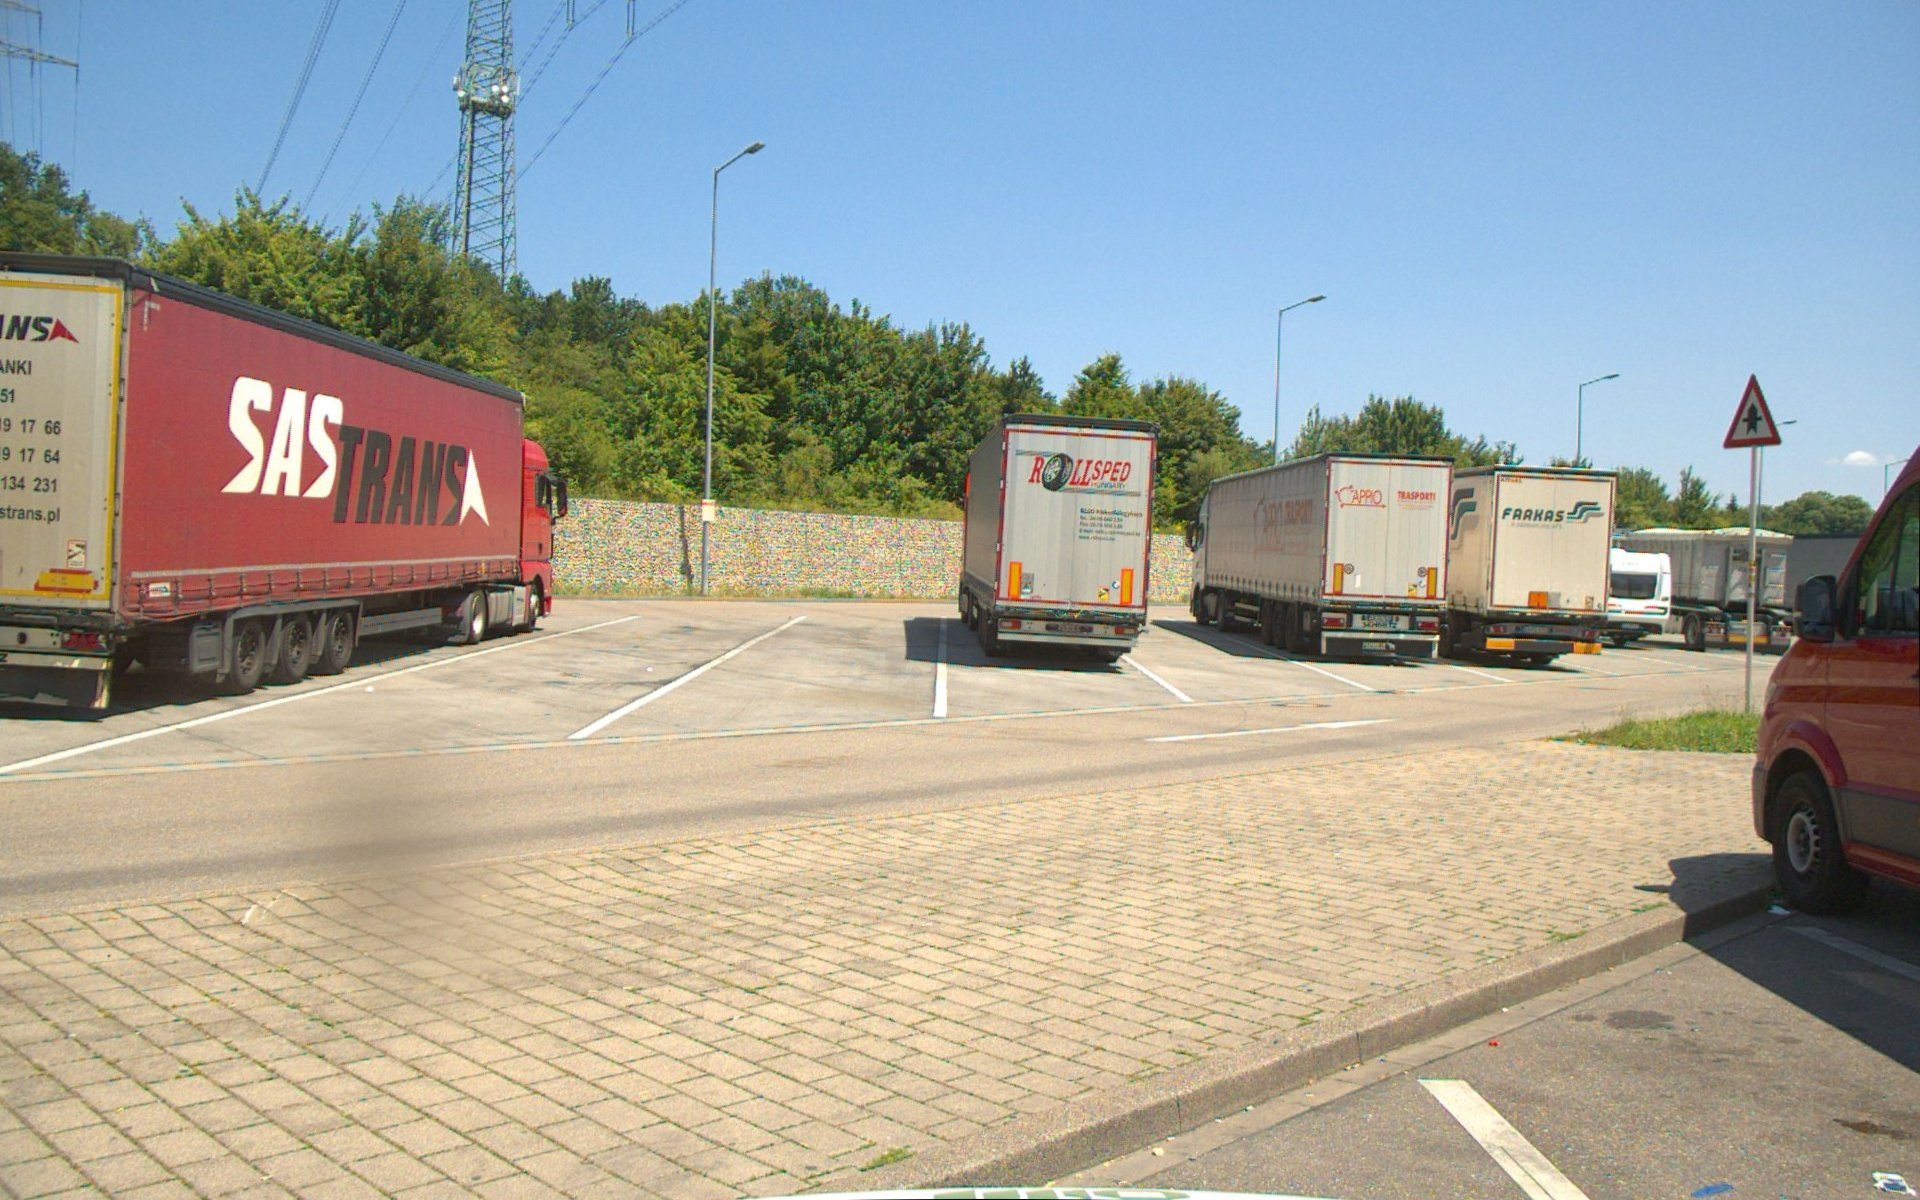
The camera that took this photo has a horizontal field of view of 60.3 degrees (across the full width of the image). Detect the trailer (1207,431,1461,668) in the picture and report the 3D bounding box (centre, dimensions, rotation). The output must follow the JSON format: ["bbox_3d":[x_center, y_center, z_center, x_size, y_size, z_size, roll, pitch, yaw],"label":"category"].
[{"bbox_3d":[8.178,-1.096,38.303,2.627,4.530,12.826,1,1,-1],"label":"trailer"}]

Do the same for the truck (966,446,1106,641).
[{"bbox_3d":[1.612,-1.240,37.843,2.813,4.050,6.029,1,1,-1],"label":"truck"}]

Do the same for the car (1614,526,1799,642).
[{"bbox_3d":[21.704,-0.494,48.488,2.448,3.128,6.350,1,1,-1],"label":"car"}]

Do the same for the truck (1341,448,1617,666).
[{"bbox_3d":[11.718,-0.832,38.919,2.534,4.299,11.967,1,0,-1],"label":"truck"}]

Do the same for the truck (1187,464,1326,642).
[{"bbox_3d":[8.024,-1.249,45.444,2.607,4.530,5.863,1,1,-1],"label":"truck"}]

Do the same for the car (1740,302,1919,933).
[{"bbox_3d":[4.985,0.108,5.555,1.952,2.679,6.385,1,1,3],"label":"car"}]

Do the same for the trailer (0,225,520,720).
[{"bbox_3d":[-8.638,-1.238,20.982,2.743,4.293,13.200,1,1,-1],"label":"trailer"}]

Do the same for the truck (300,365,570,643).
[{"bbox_3d":[-8.723,-1.525,28.236,2.748,4.205,5.893,1,1,-1],"label":"truck"}]

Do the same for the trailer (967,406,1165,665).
[{"bbox_3d":[1.710,-1.123,32.002,2.838,4.083,11.315,1,1,-1],"label":"trailer"}]

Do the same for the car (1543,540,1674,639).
[{"bbox_3d":[18.238,-0.266,46.730,2.072,2.645,3.999,1,0,-1],"label":"car"}]
